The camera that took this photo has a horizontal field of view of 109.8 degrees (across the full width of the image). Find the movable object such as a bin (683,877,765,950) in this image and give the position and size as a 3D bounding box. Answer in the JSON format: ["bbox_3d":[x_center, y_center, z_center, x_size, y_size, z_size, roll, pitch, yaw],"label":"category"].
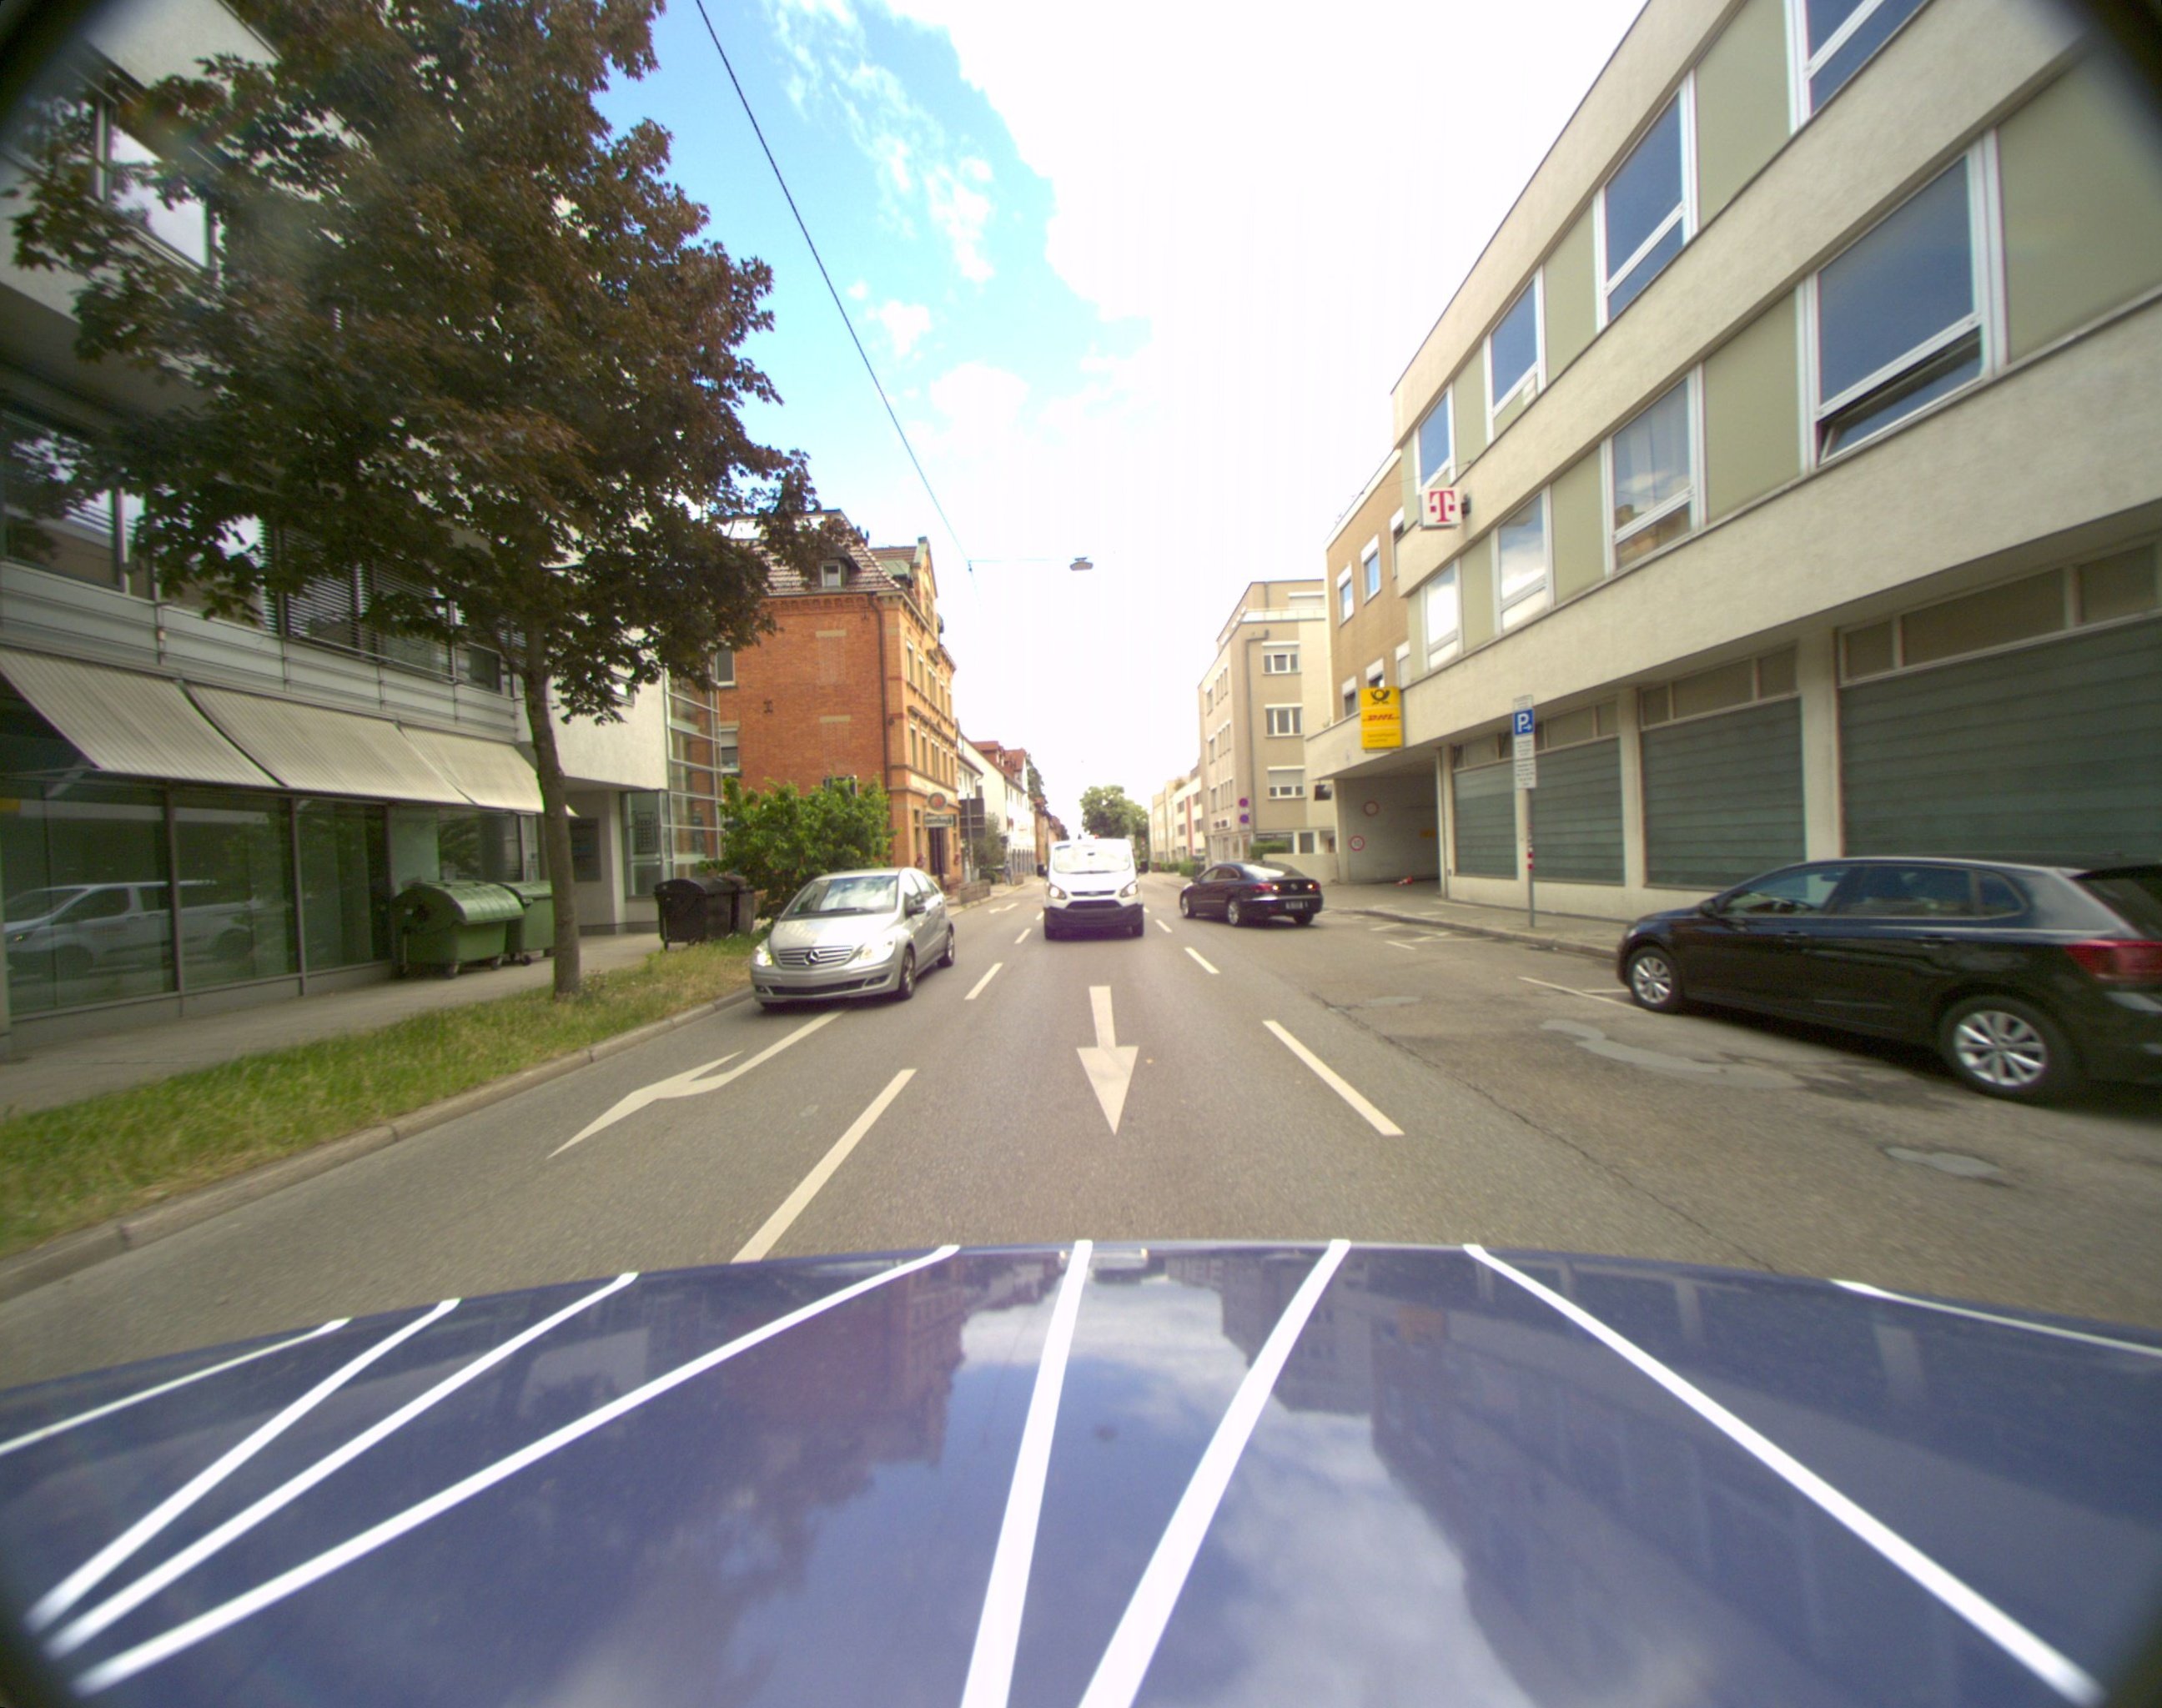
[{"bbox_3d":[-7.662,1.249,16.381,1.100,1.457,1.333,-1,0,-1],"label":"movable object such as a bin"}]

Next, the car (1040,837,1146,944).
[{"bbox_3d":[0.182,0.709,17.248,1.965,1.986,5.086,-2,0,-1],"label":"car"}]

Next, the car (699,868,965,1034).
[{"bbox_3d":[-3.015,1.078,10.422,1.998,1.537,4.570,-5,0,0],"label":"car"}]

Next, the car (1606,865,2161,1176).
[{"bbox_3d":[6.028,0.831,5.510,1.721,1.417,3.870,-1,0,-1],"label":"car"}]

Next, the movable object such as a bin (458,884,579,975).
[{"bbox_3d":[-9.902,1.294,13.450,1.125,1.457,1.333,-1,0,-1],"label":"movable object such as a bin"}]

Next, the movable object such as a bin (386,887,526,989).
[{"bbox_3d":[-9.878,1.297,12.089,1.100,1.457,1.333,-1,0,-1],"label":"movable object such as a bin"}]

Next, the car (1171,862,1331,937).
[{"bbox_3d":[3.700,0.920,17.447,1.658,1.390,4.448,-3,0,-15],"label":"car"}]

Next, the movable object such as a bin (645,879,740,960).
[{"bbox_3d":[-7.622,1.258,15.010,1.130,1.457,1.412,-1,0,-1],"label":"movable object such as a bin"}]

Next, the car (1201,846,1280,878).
[{"bbox_3d":[10.925,0.521,52.310,5.082,1.986,1.966,-2,0,3],"label":"car"}]

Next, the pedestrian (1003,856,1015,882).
[{"bbox_3d":[-4.906,1.033,51.735,0.690,1.721,0.649,-2,1,-1],"label":"pedestrian"}]
